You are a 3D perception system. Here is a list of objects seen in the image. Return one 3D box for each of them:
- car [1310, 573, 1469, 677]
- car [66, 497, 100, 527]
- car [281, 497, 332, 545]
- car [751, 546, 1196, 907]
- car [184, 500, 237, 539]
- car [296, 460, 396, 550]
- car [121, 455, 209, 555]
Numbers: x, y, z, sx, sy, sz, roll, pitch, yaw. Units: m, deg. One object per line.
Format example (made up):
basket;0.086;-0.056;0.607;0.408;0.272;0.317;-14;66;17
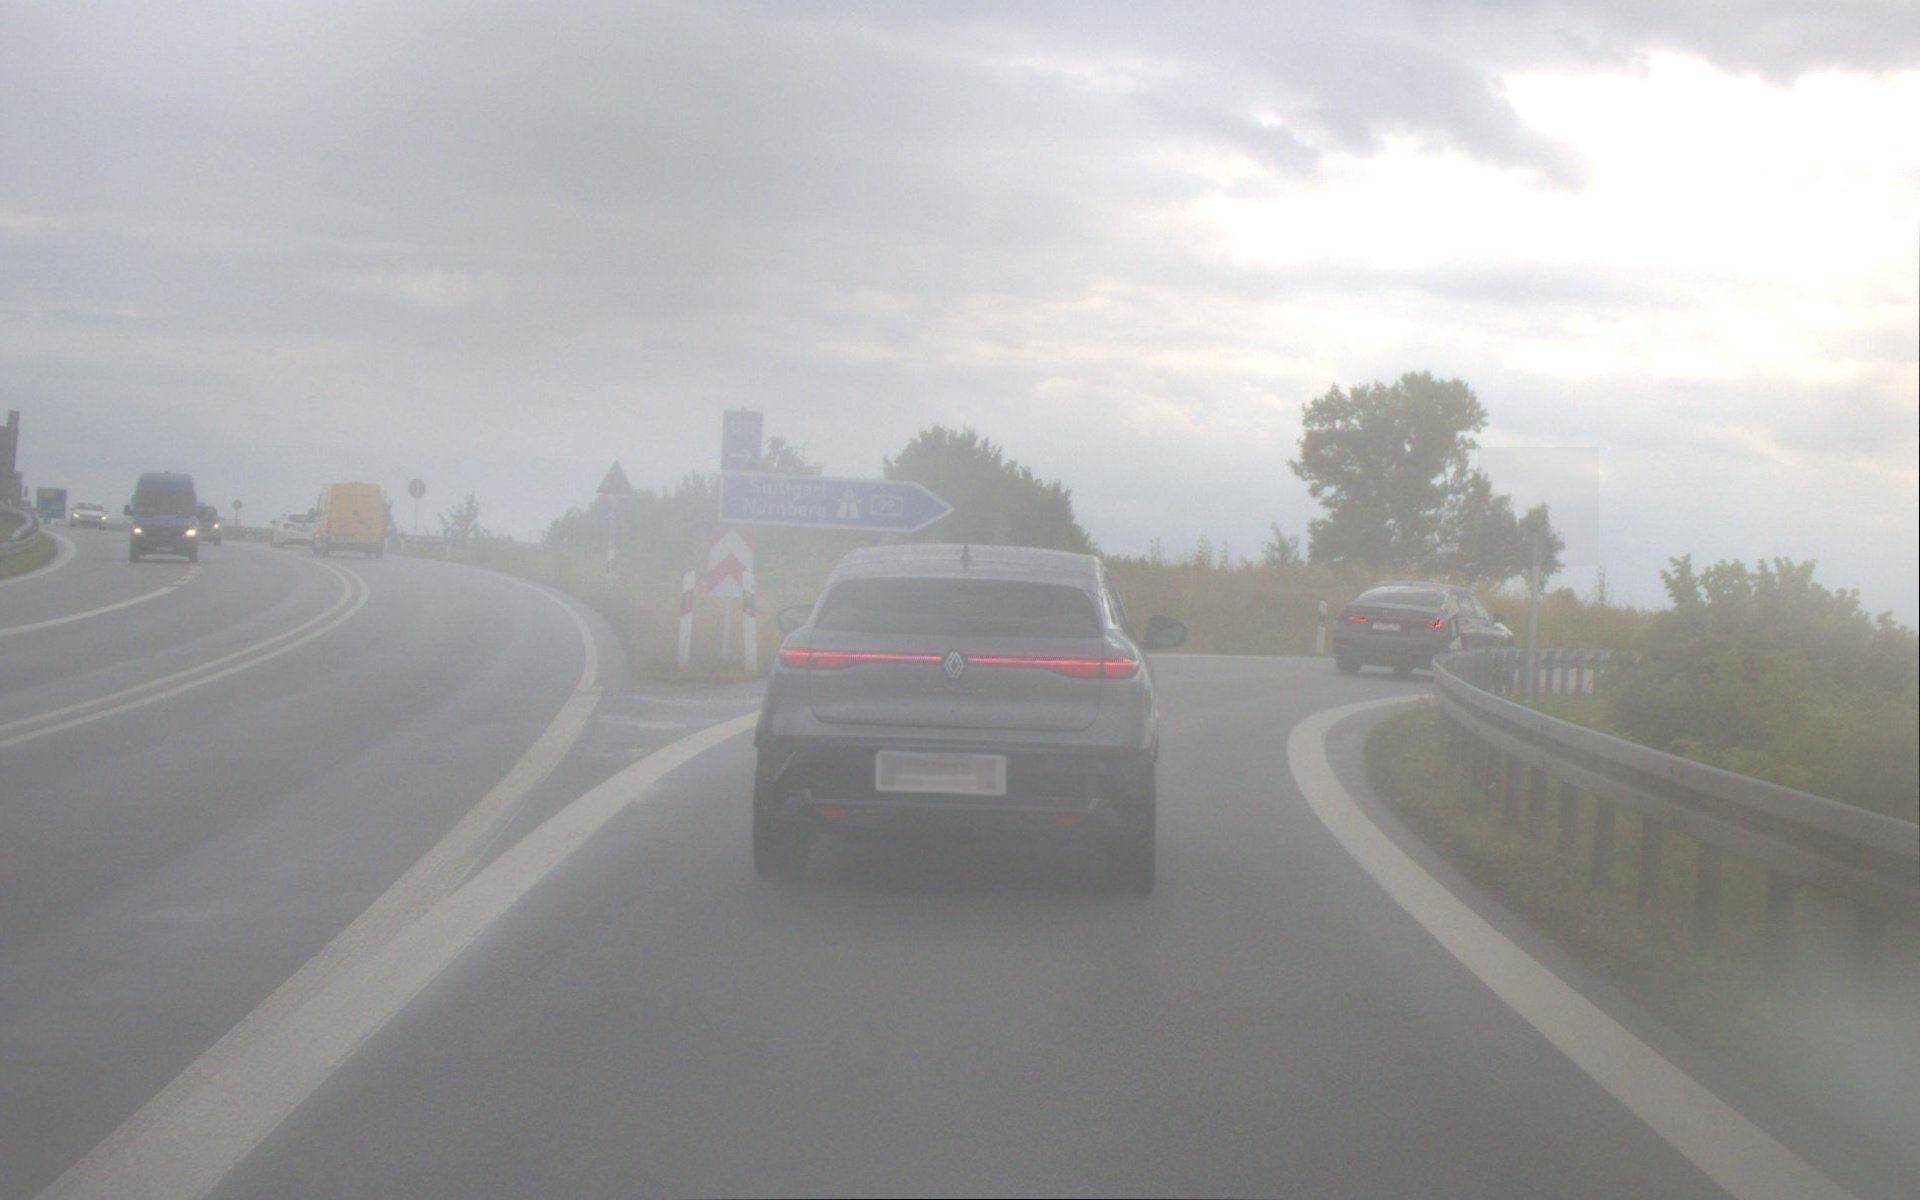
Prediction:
car;6.711;0.408;53.389;1.793;1.436;3.996;1;-2;16
car;-45.802;-4.589;179.517;1.652;1.442;3.388;3;1;-15
car;-25.503;-3.072;134.081;1.791;1.682;4.001;2;-1;-13
car;0.042;0.528;16.147;1.791;1.436;4.000;2;0;0
car;-28.509;-3.053;130.765;1.743;1.361;4.051;3;0;-15
car;-20.827;-3.168;116.422;2.572;2.716;7.198;4;-1;-15
car;-23.992;-2.925;103.820;2.351;2.691;6.997;3;3;-13
